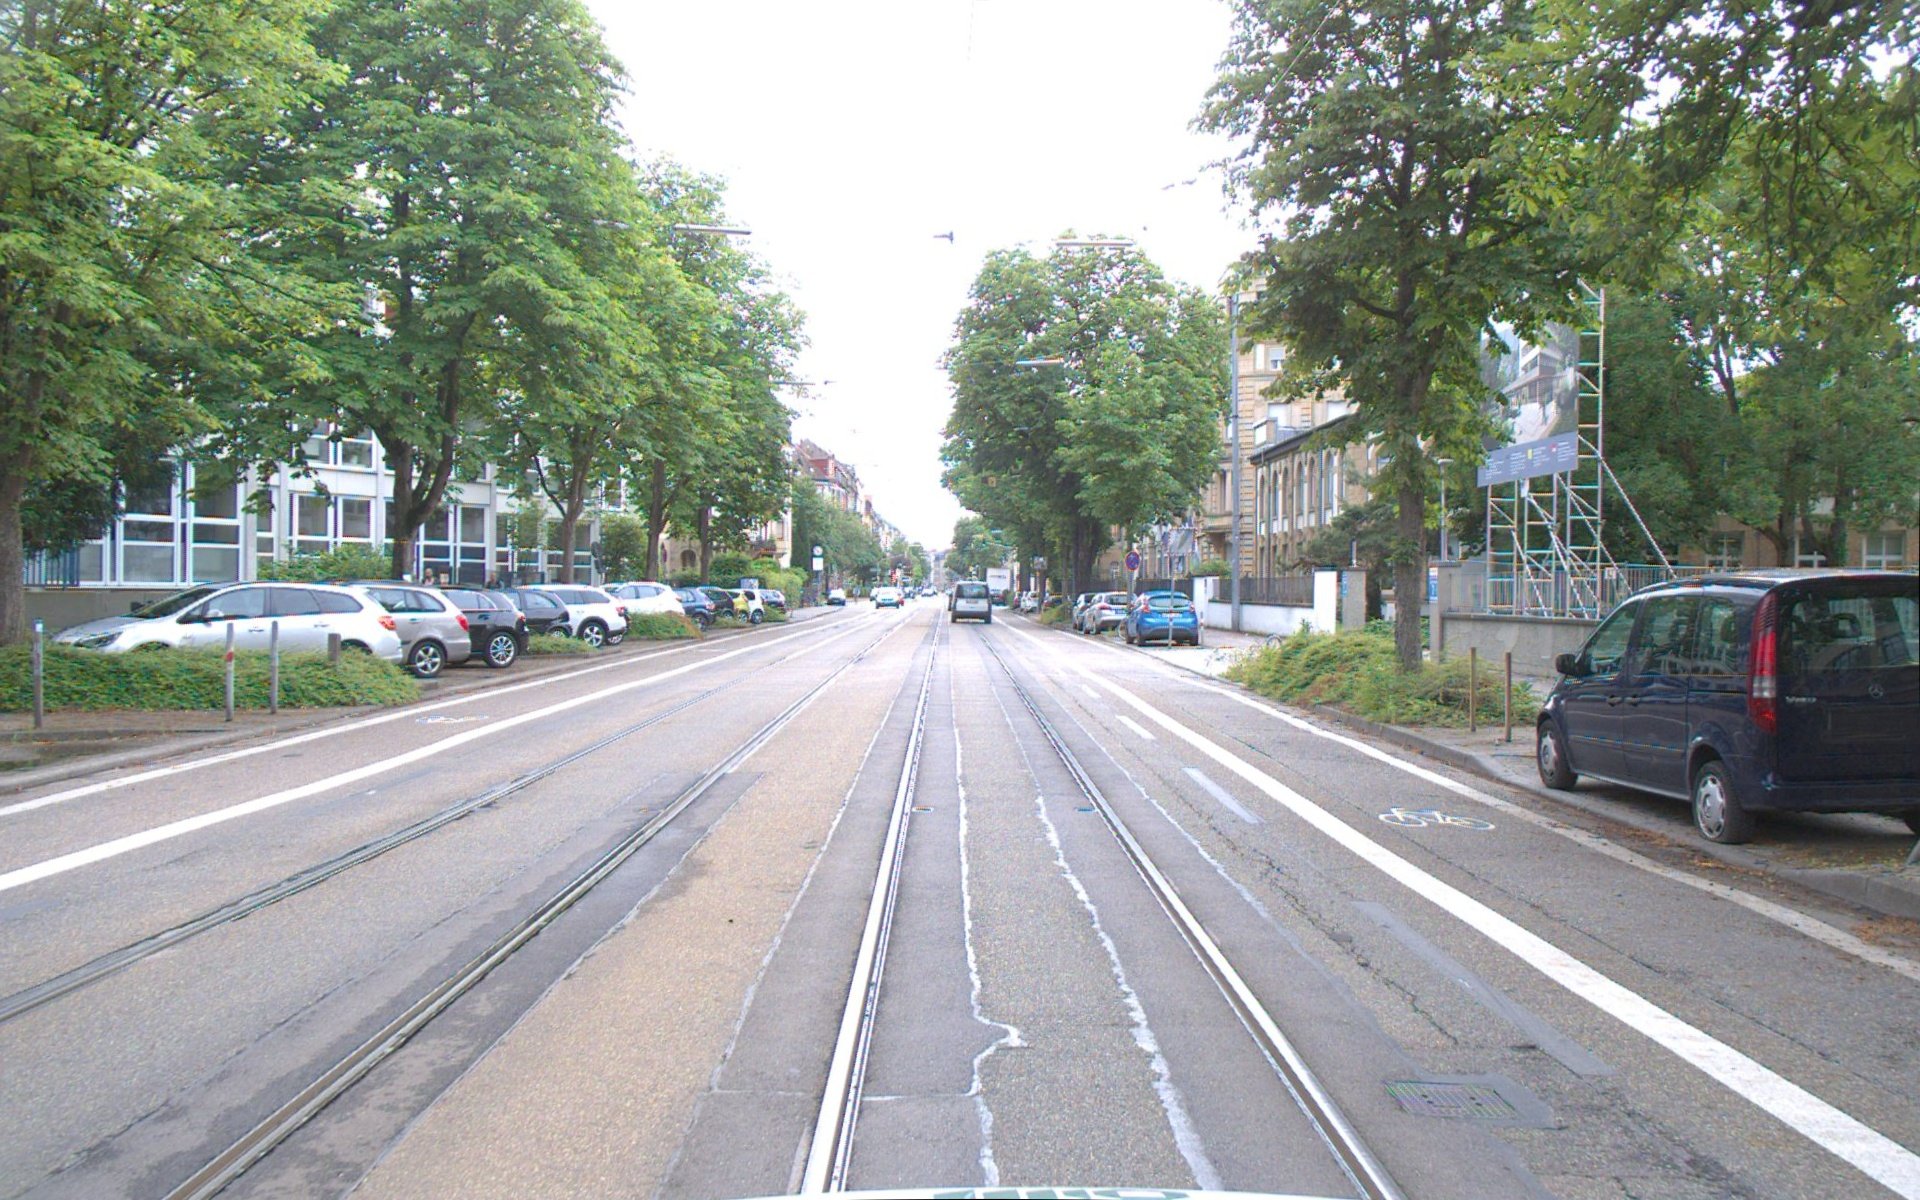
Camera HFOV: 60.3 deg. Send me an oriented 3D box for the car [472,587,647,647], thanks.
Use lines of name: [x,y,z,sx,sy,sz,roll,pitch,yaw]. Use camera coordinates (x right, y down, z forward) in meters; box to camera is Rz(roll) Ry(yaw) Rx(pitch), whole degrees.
car: [-10.172,0.443,42.128,3.988,1.430,1.677,1,0,-39]

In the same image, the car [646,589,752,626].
car: [-10.303,0.293,65.386,1.671,1.375,3.941,2,0,44]

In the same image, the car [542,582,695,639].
car: [-10.088,0.328,49.074,1.669,1.583,4.323,2,0,40]

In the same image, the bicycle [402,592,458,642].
bicycle: [-13.837,0.458,43.220,0.396,1.290,1.595,1,-1,23]

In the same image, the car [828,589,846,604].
car: [-11.573,-0.302,156.003,1.608,1.378,3.874,1,0,-4]

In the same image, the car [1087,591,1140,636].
car: [5.347,0.446,57.768,1.445,1.507,3.565,1,0,-1]

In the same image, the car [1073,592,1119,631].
car: [5.295,0.425,64.801,1.445,1.453,3.565,1,0,-1]

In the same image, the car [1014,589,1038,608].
car: [5.044,-0.121,126.790,1.733,1.423,3.796,1,0,2]

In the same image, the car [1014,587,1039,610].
car: [5.366,-0.121,133.884,1.952,1.825,4.000,0,0,1]

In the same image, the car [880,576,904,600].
car: [-7.279,-1.260,177.220,2.159,2.459,4.002,1,0,3]

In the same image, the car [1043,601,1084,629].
car: [4.948,0.684,79.391,1.834,1.273,4.001,0,0,2]

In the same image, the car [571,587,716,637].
car: [-9.964,0.395,52.260,1.671,1.479,4.317,2,0,44]

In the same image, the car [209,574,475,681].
car: [-9.714,0.420,26.160,1.547,1.550,3.625,2,0,45]

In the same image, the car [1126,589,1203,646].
car: [5.631,0.460,45.897,1.640,1.486,3.432,1,0,-1]

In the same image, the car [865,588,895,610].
car: [-5.975,-0.111,123.909,1.861,1.557,3.755,-1,0,2]

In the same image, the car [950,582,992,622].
car: [0.516,0.095,74.570,1.774,1.738,3.699,1,0,2]

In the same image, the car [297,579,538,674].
car: [-9.542,0.459,29.242,1.672,1.550,3.679,2,0,45]

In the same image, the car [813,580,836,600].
car: [-14.859,-1.097,181.216,2.133,2.246,4.219,0,0,0]

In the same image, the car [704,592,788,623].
car: [-10.236,0.365,79.214,3.660,1.410,1.687,1,0,-25]

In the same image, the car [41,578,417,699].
car: [-9.918,0.504,22.738,1.770,1.490,4.410,1,0,39]

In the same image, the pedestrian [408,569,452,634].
pedestrian: [-13.813,0.036,43.086,0.738,1.640,0.734,2,-1,23]

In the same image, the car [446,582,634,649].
car: [-9.947,0.376,39.284,3.988,1.510,1.677,1,0,-39]

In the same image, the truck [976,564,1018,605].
truck: [3.864,-1.637,176.305,3.731,4.100,10.213,1,0,-3]

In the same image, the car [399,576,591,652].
car: [-10.056,0.310,35.935,1.672,1.550,3.679,2,0,45]

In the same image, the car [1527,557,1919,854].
car: [5.799,0.675,12.411,1.620,1.844,4.083,1,0,-1]

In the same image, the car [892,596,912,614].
car: [-5.124,0.449,146.730,1.642,1.549,2.781,1,0,0]

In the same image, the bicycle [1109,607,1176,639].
bicycle: [5.575,0.701,50.633,1.972,0.973,0.533,0,0,-4]

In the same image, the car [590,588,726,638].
car: [-10.112,0.448,55.614,1.671,1.562,4.317,2,0,44]

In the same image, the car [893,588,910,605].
car: [-7.780,-0.470,220.294,2.160,2.295,4.000,0,0,0]

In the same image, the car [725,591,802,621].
car: [-10.154,0.314,85.478,3.660,1.410,1.687,1,0,-25]

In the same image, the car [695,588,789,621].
car: [-9.681,0.219,73.605,1.671,1.375,3.941,2,0,44]

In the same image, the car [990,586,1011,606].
car: [3.945,-0.377,161.092,1.846,1.878,3.999,1,0,-1]

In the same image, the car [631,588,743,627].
car: [-10.228,0.281,62.087,1.671,1.375,3.941,2,0,44]

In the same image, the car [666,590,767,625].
car: [-10.064,0.310,68.478,1.671,1.375,3.941,2,0,44]
